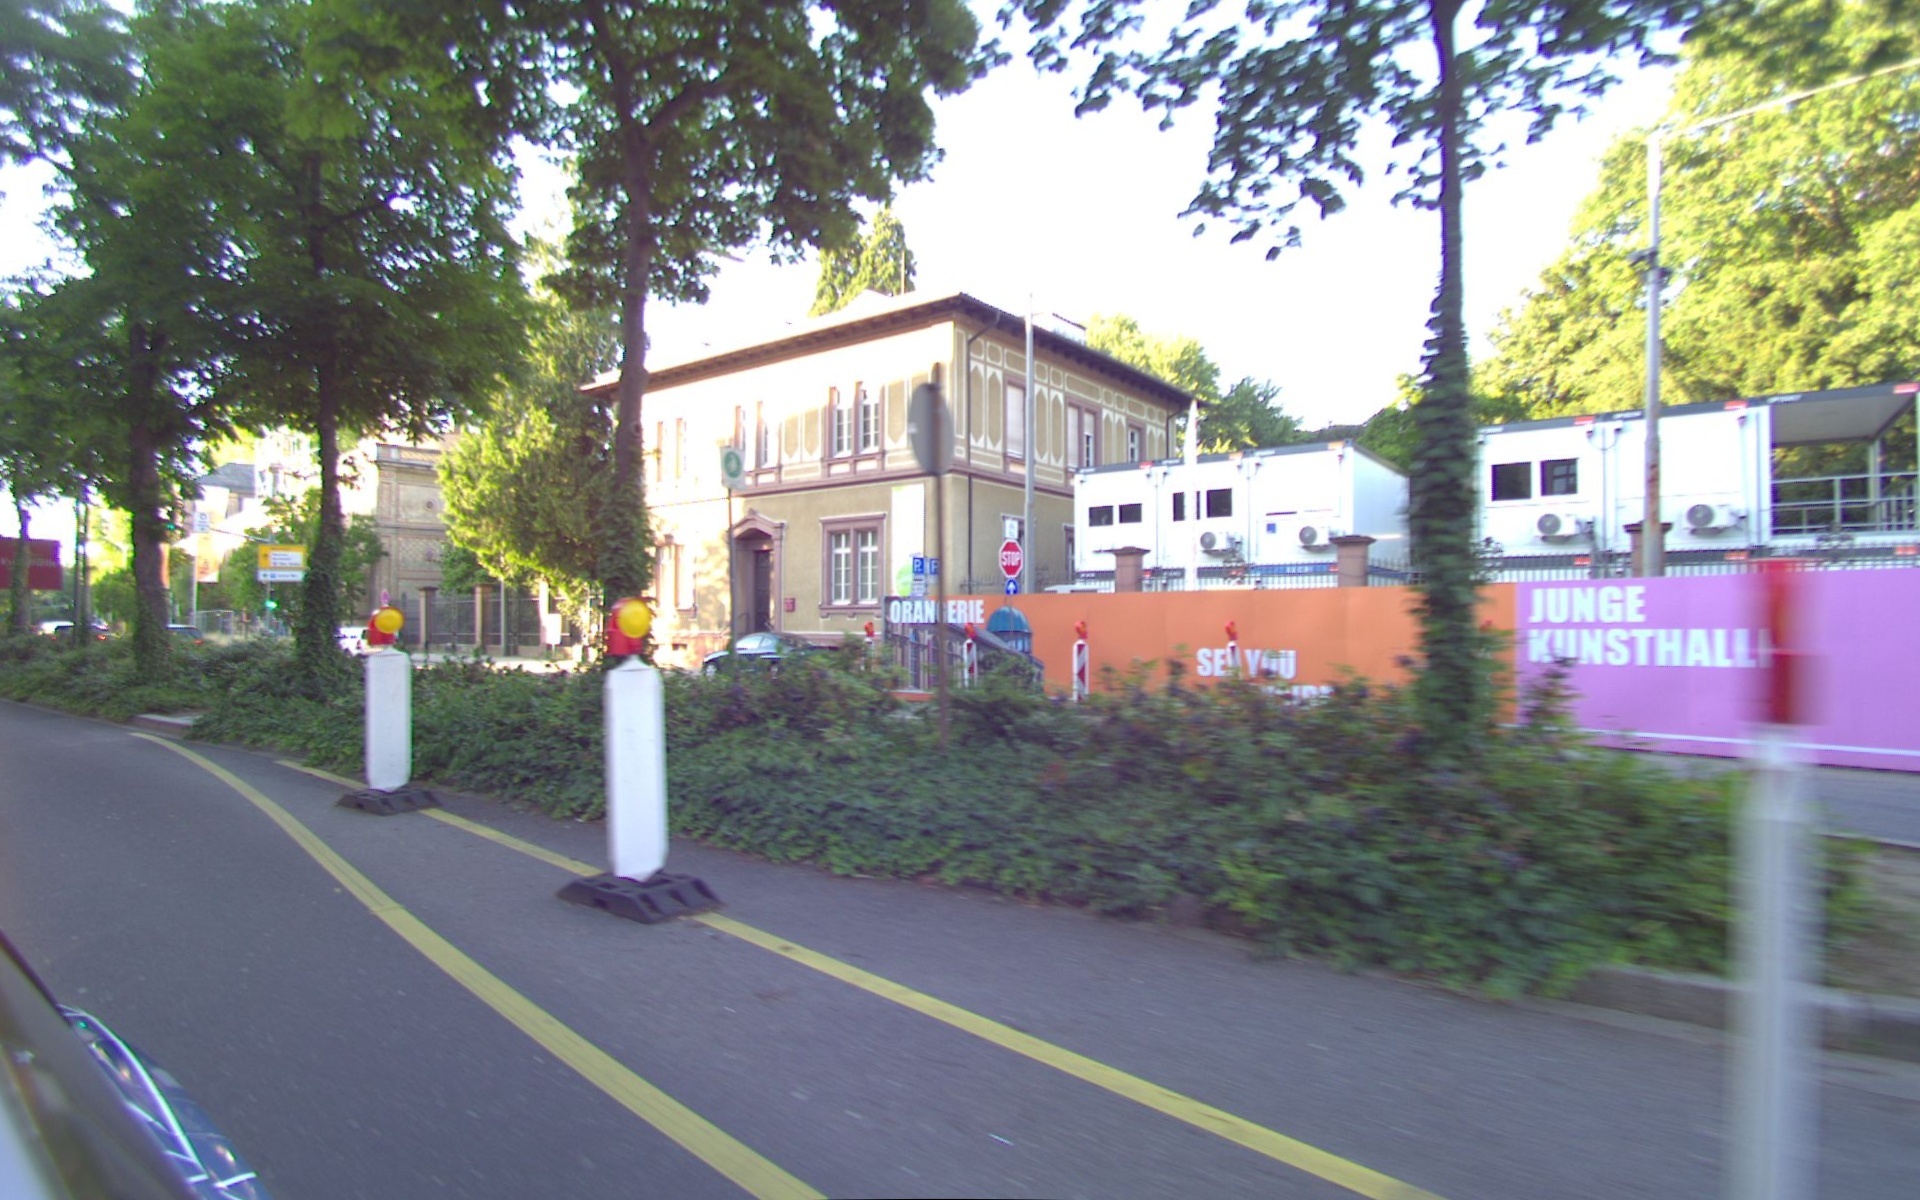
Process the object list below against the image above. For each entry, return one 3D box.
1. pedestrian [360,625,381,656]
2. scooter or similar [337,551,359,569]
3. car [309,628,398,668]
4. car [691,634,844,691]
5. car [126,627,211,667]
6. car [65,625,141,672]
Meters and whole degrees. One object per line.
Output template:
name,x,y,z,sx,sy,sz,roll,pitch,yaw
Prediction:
pedestrian,-29.877,2.052,51.286,0.762,1.591,0.728,-2,-3,40
scooter or similar,-30.326,-1.978,50.143,1.028,0.783,0.671,-2,-2,40
car,-25.009,1.987,41.700,4.364,1.559,1.727,-3,-2,38
car,-5.021,1.585,26.233,3.878,1.361,1.665,-1,-4,35
car,-32.823,1.934,41.940,4.169,1.563,1.824,-2,-4,39
car,-30.524,1.712,36.147,1.821,1.559,4.127,2,-3,-37
